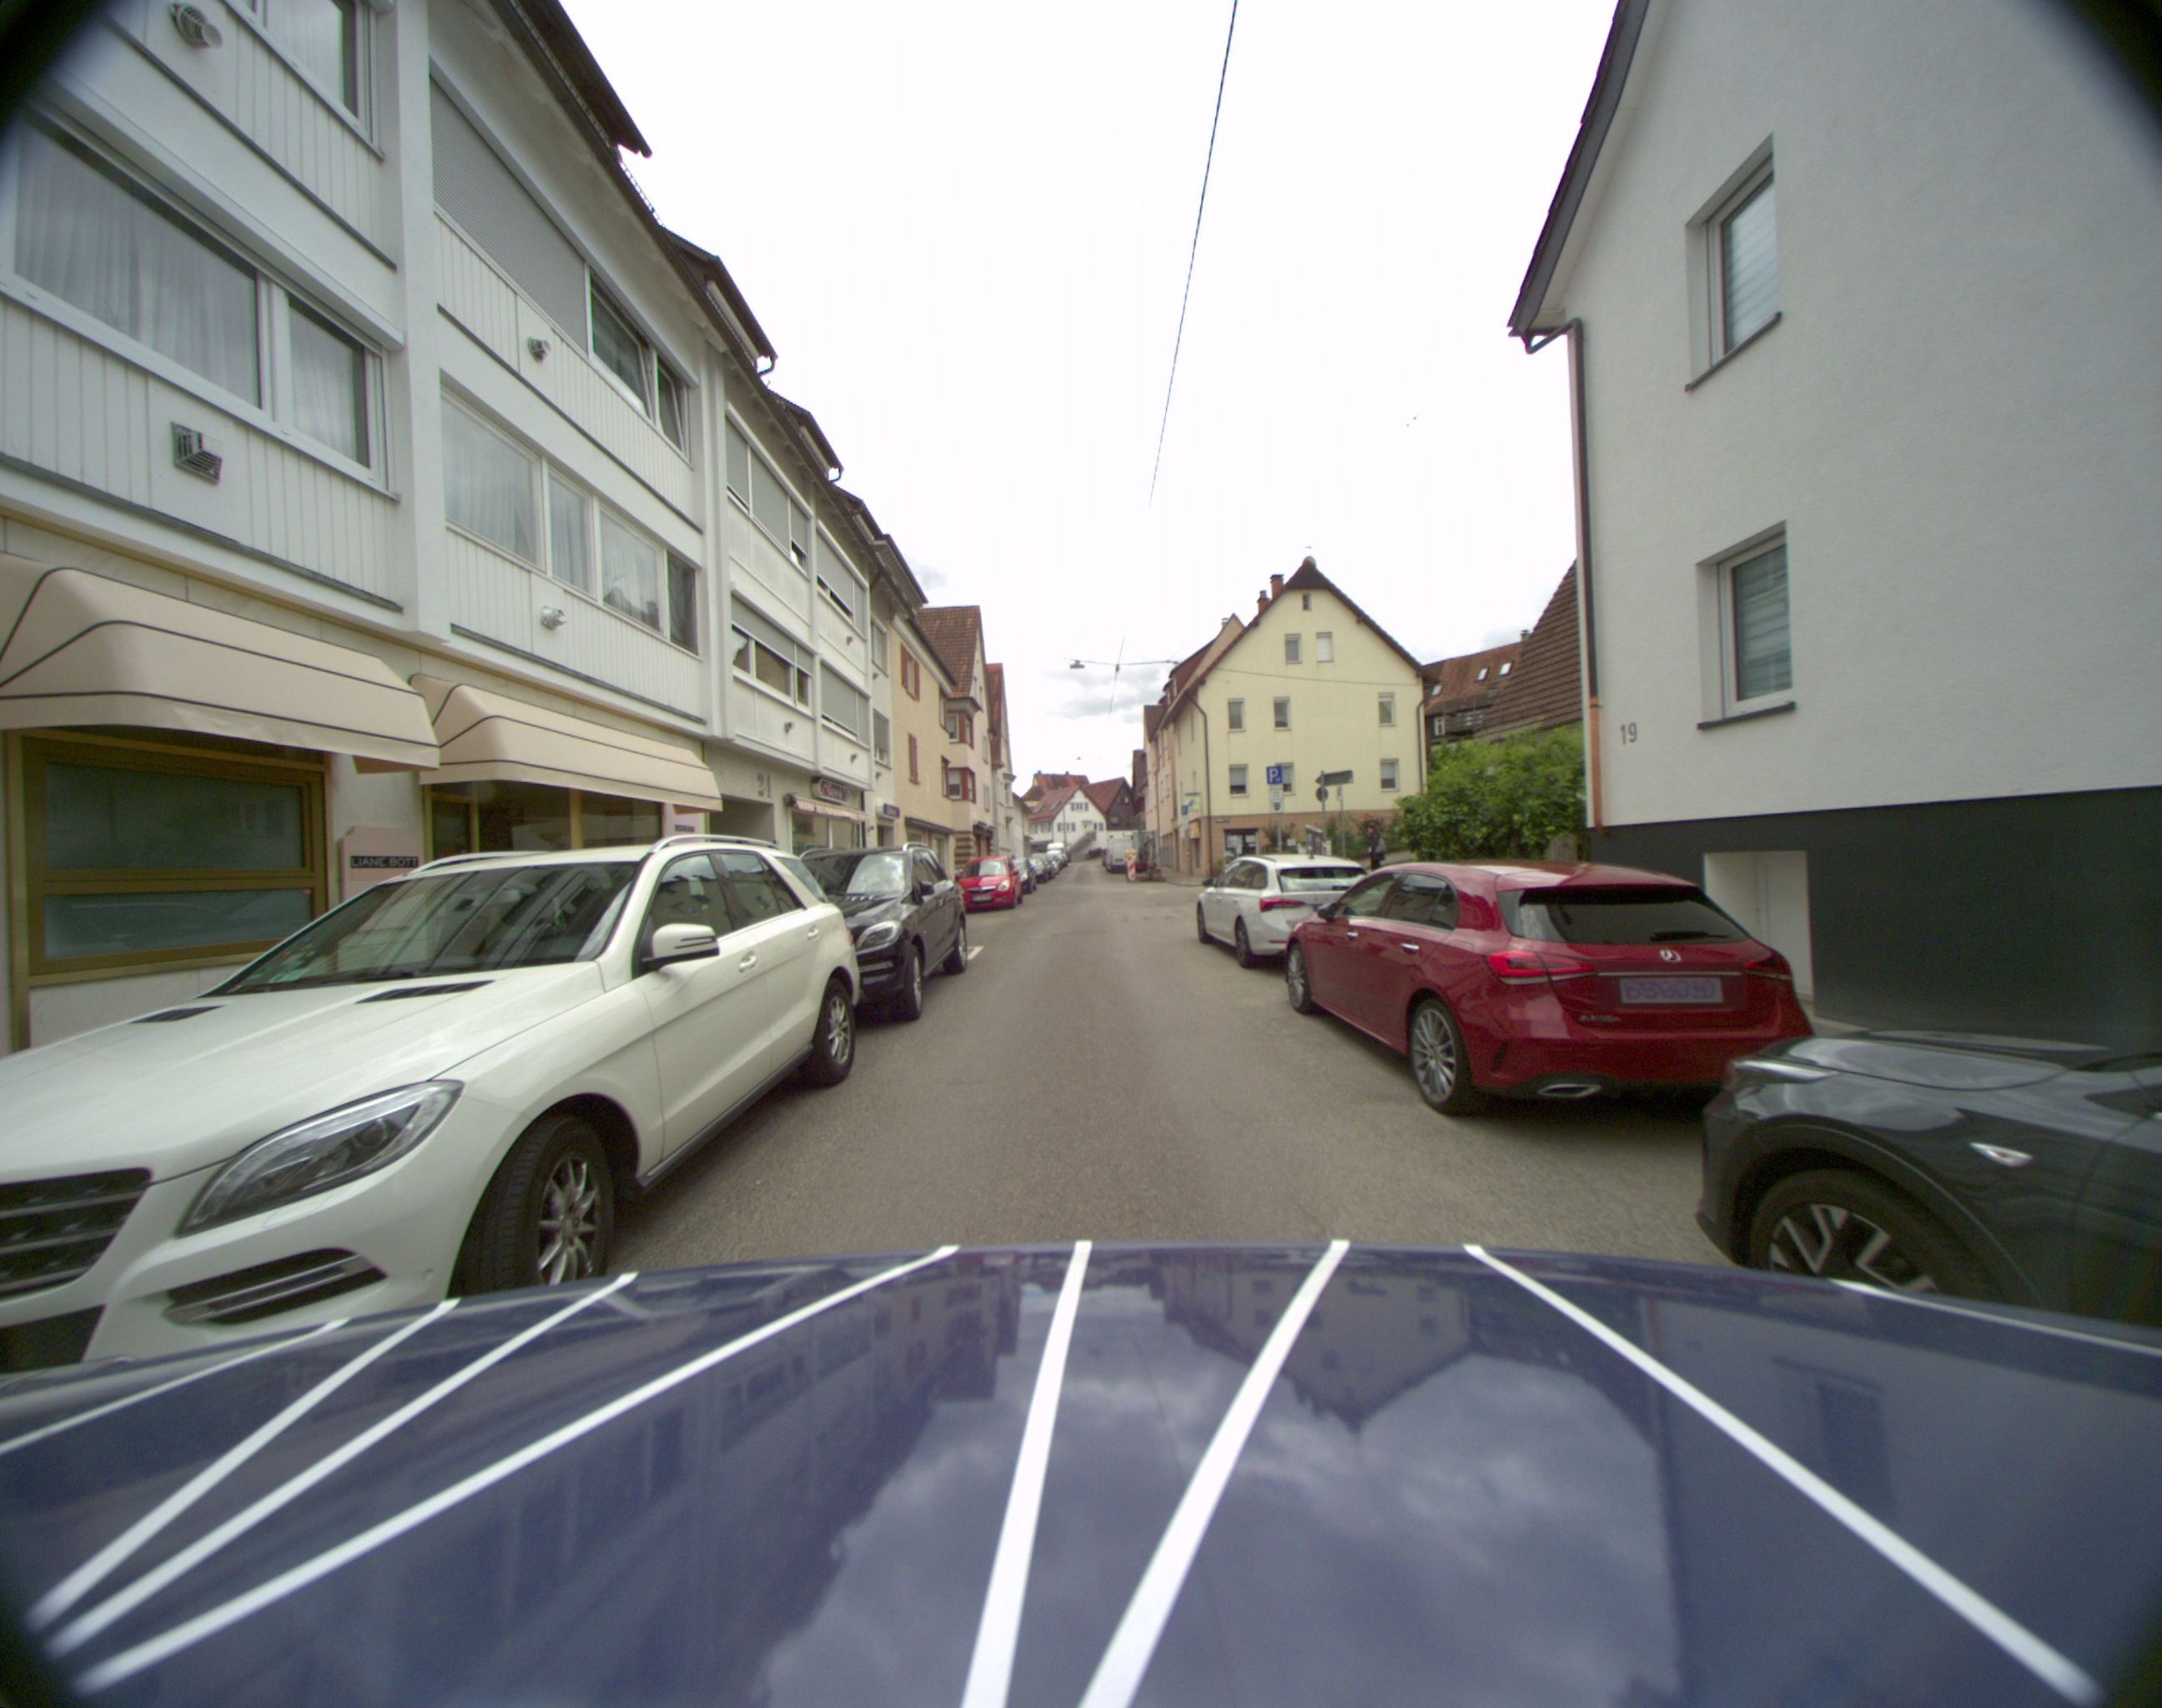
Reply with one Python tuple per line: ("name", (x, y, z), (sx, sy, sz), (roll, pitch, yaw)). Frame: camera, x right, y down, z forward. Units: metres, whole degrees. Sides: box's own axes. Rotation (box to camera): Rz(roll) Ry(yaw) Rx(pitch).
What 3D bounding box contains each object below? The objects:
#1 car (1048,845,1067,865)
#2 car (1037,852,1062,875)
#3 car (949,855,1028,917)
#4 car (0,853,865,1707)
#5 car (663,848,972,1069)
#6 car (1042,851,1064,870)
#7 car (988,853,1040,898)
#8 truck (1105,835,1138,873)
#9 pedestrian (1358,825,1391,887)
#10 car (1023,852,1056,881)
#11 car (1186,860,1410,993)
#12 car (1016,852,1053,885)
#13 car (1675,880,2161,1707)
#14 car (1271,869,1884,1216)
("car", (-2.265, 0.057, 74.759), (1.606, 1.716, 3.550), (-5, 1, 0))
("car", (-2.276, 0.667, 55.607), (1.606, 1.464, 3.550), (-5, 1, 0))
("car", (-2.679, 0.885, 22.918), (1.674, 1.519, 3.988), (-5, 1, 1))
("car", (-2.666, 0.916, 3.607), (1.900, 1.696, 4.493), (-3, 1, 0))
("car", (-2.548, 0.874, 8.642), (1.900, 1.779, 4.343), (-3, 1, 0))
("car", (-2.419, 0.562, 66.100), (1.606, 1.464, 3.550), (-5, 1, 0))
("car", (-2.668, 0.823, 30.856), (1.606, 1.519, 3.988), (-5, 1, 0))
("truck", (2.716, -0.040, 52.084), (1.784, 2.378, 5.484), (-2, 1, -1))
("pedestrian", (7.974, 0.053, 20.658), (0.548, 1.624, 0.626), (-4, 4, -10))
("car", (-2.425, 0.726, 45.322), (1.606, 1.464, 3.550), (-5, 1, 0))
("car", (2.776, 0.844, 10.827), (1.756, 1.423, 4.348), (0, 1, -3))
("car", (-2.427, 0.731, 40.412), (1.606, 1.464, 3.988), (-5, 1, 0))
("car", (2.717, 0.863, 0.326), (1.756, 1.501, 4.084), (0, 1, 1))
("car", (2.764, 0.905, 5.490), (1.756, 1.441, 4.066), (0, 1, 0))
